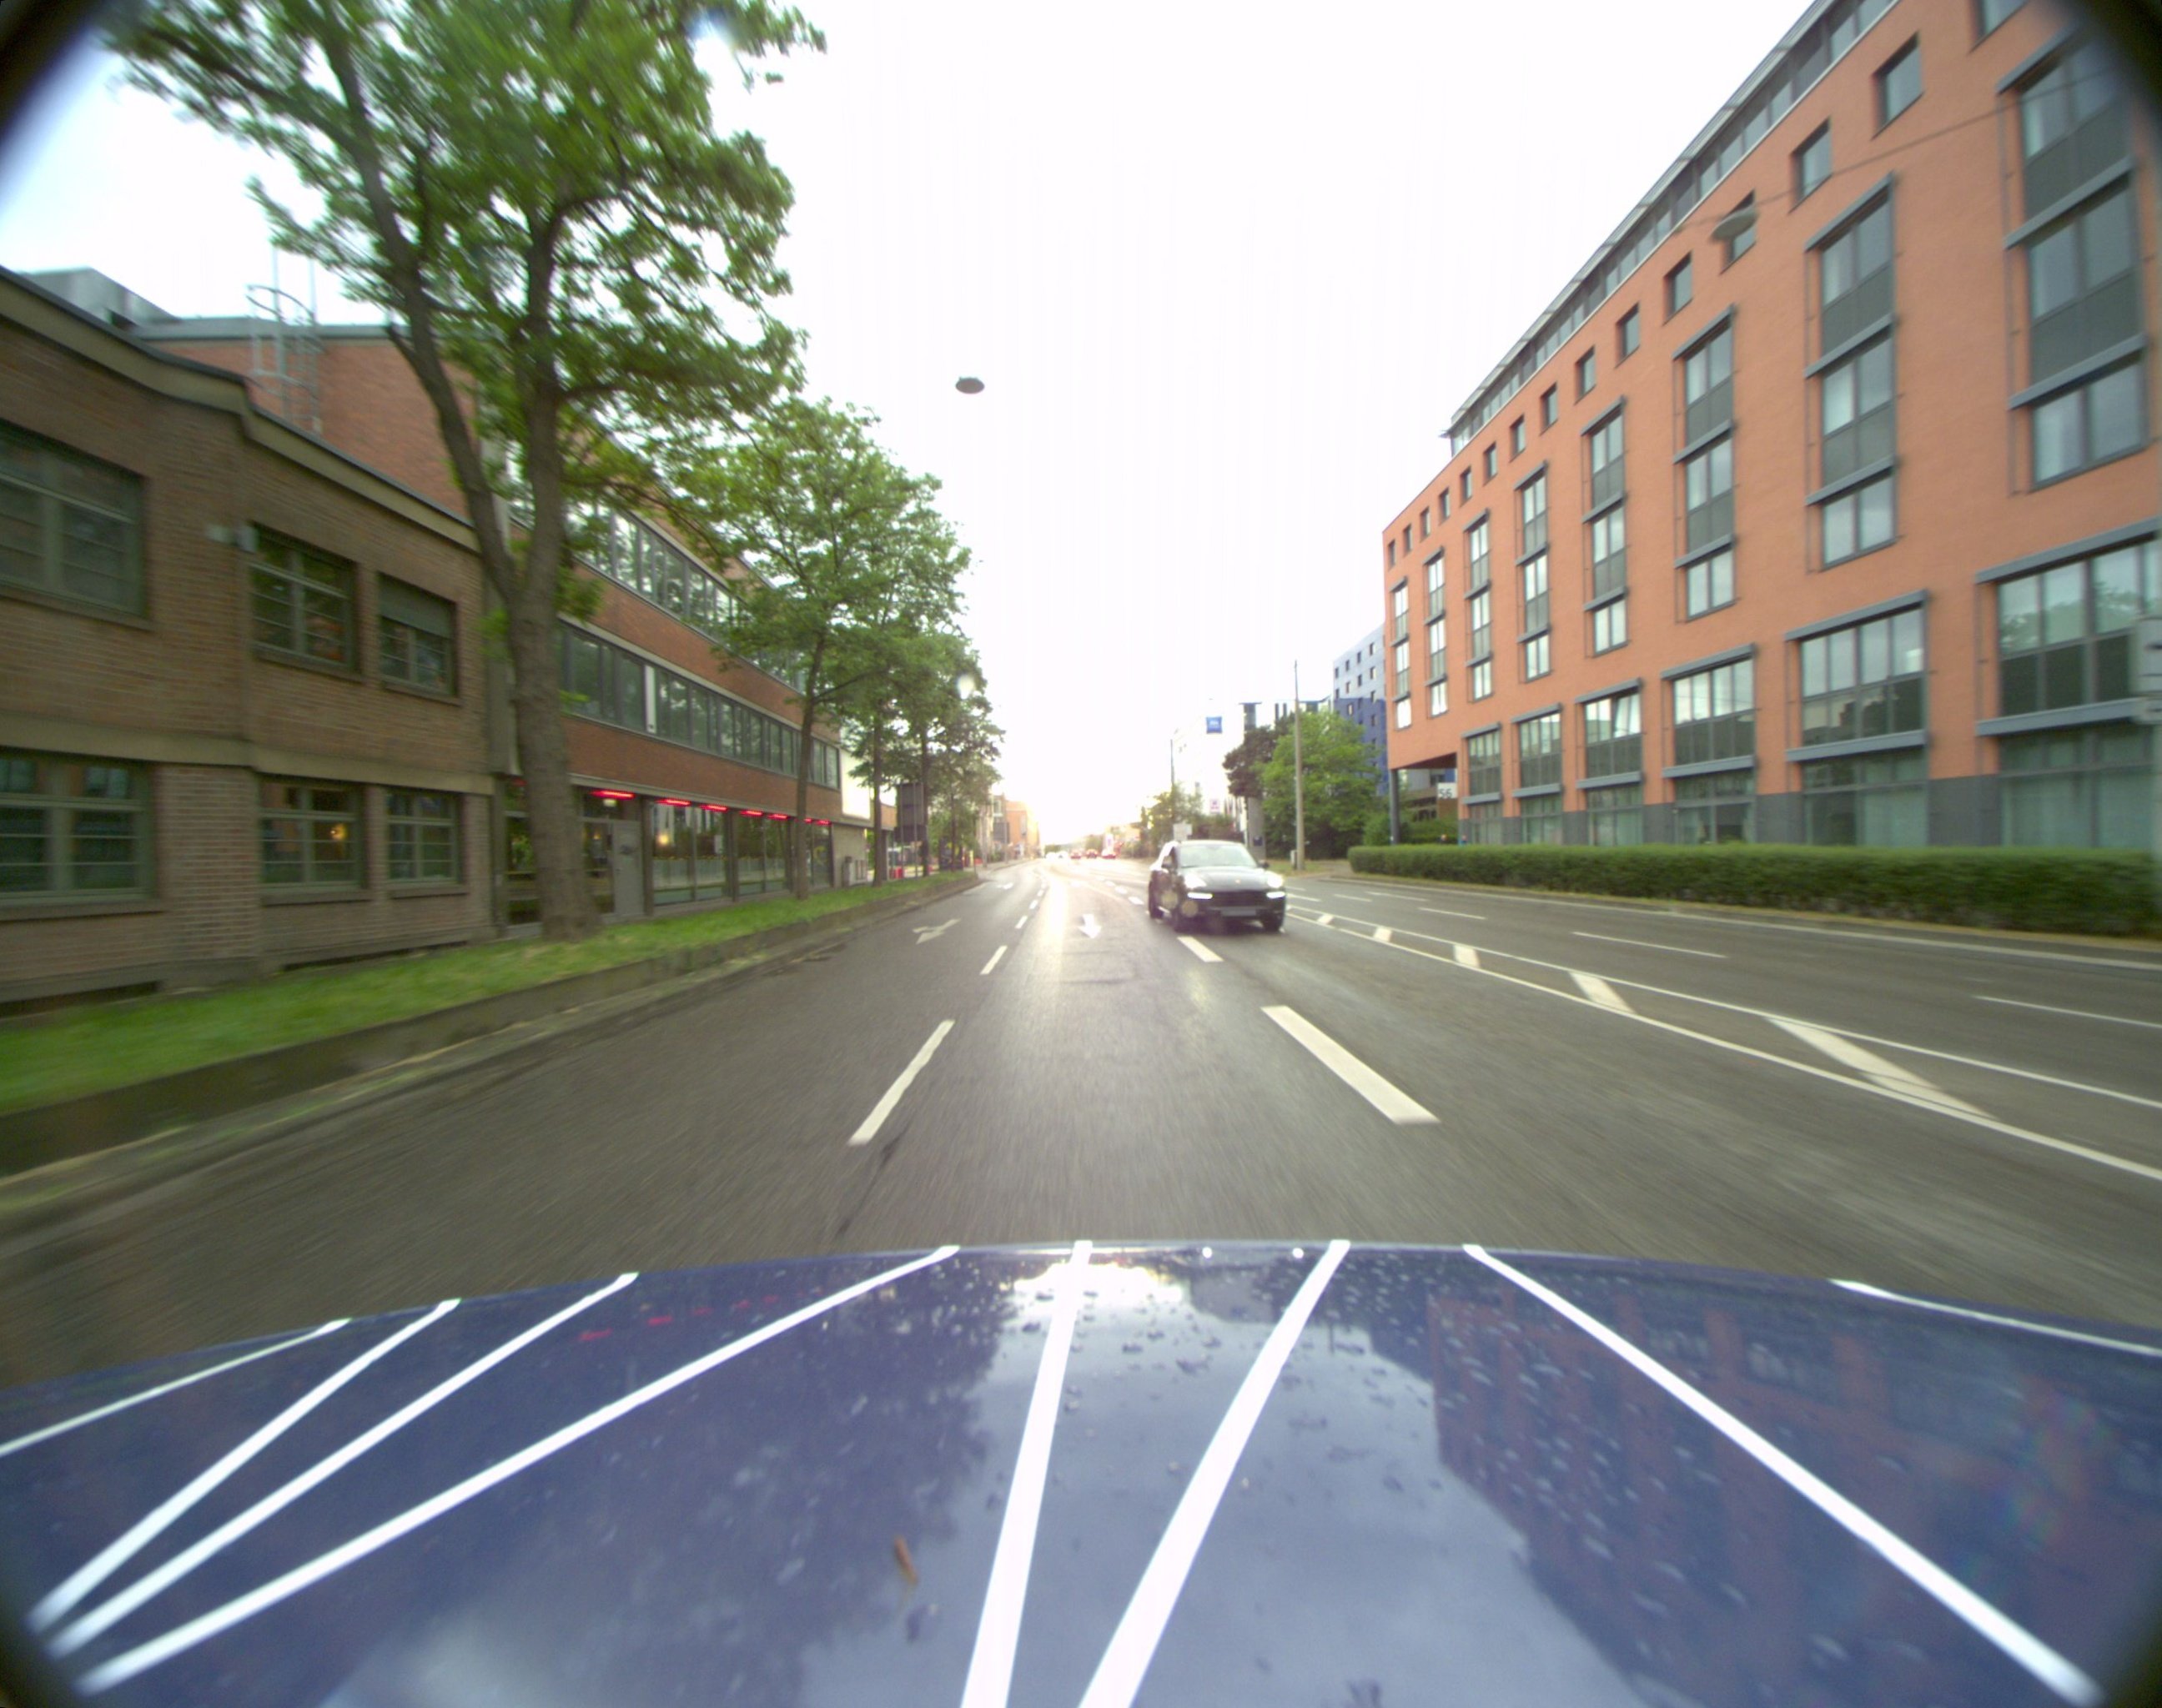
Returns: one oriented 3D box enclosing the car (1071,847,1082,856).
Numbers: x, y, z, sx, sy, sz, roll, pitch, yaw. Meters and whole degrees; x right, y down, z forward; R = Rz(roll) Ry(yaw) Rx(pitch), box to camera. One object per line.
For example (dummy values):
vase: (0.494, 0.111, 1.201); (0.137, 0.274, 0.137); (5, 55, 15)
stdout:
car: (-0.794, -0.542, 139.616); (1.999, 1.543, 3.999); (-2, 1, 0)

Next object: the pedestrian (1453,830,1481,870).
pedestrian: (17.945, -0.197, 35.337); (0.747, 1.830, 0.885); (-3, 1, -1)

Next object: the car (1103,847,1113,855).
car: (5.433, -0.631, 155.482); (1.767, 1.559, 3.999); (0, 1, -2)

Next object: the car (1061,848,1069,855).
car: (-3.569, -0.522, 167.903); (1.799, 1.501, 4.000); (-1, 0, 0)

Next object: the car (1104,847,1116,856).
car: (5.311, -0.482, 138.271); (1.767, 1.559, 3.998); (0, 1, -3)

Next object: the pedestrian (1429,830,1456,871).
pedestrian: (16.904, -0.164, 35.558); (0.747, 1.830, 0.885); (-3, 1, -1)

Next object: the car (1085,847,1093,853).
car: (1.937, -1.063, 190.435); (1.999, 1.543, 3.999); (-2, 1, 0)

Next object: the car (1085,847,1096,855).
car: (1.914, -0.637, 147.232); (1.999, 1.543, 3.999); (-2, 1, 0)

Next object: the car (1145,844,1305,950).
car: (2.533, 0.672, 14.845); (1.999, 1.656, 5.423); (-1, 0, -1)
